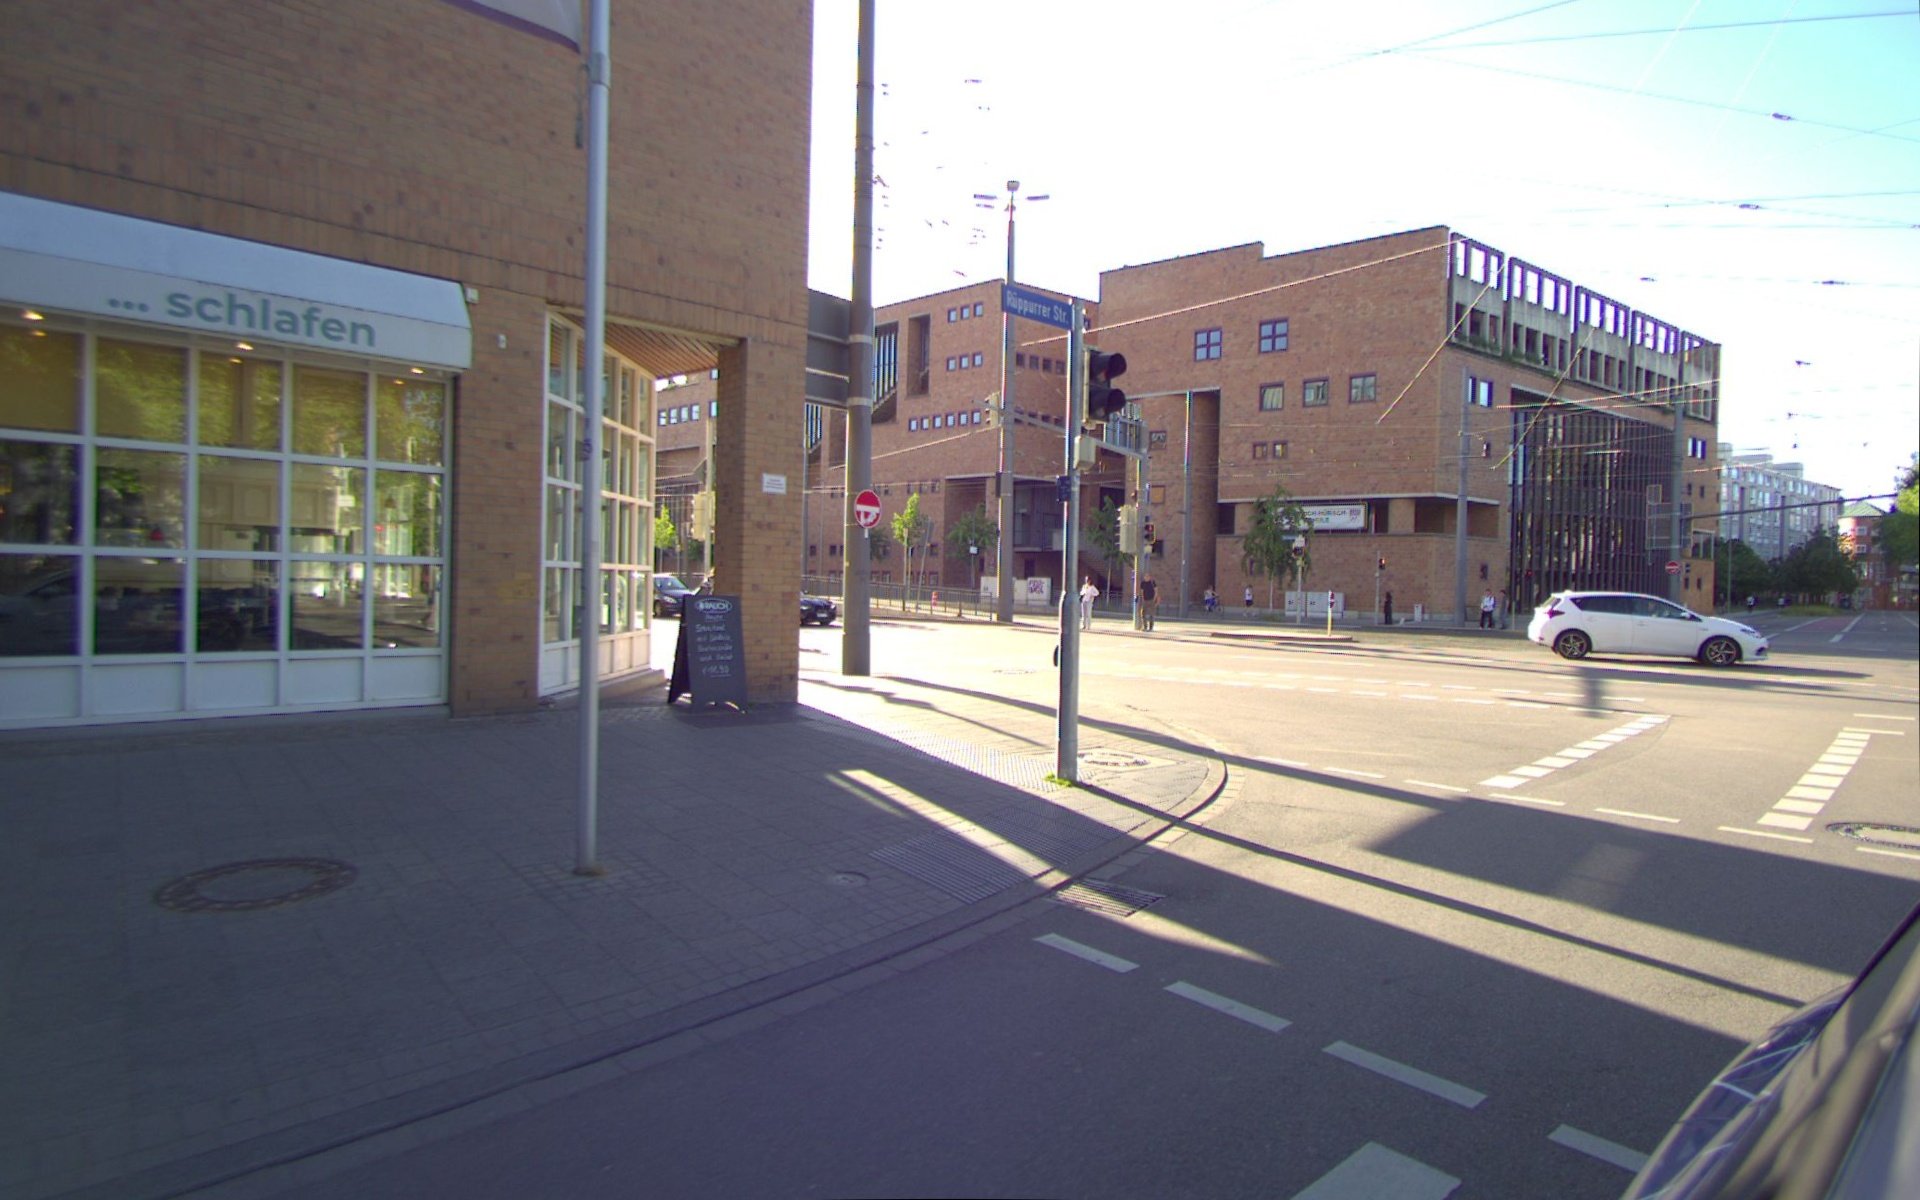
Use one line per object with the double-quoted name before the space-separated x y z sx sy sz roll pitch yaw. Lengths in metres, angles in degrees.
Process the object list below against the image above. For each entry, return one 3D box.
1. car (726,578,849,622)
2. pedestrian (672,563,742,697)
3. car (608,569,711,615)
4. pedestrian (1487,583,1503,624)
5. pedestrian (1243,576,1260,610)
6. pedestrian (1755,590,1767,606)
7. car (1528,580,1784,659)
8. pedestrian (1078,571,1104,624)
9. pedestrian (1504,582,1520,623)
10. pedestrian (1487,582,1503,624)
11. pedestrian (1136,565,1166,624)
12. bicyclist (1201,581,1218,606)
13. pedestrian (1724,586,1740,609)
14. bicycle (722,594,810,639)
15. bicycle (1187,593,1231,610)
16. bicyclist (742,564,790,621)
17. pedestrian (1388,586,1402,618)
"car" -5.799 -0.035 33.783 4.211 1.284 1.819 2 3 41
"pedestrian" -3.282 0.370 13.160 0.726 1.686 0.754 1 1 -3
"car" -11.581 -0.344 38.925 4.211 1.632 1.819 2 3 41
"pedestrian" 24.254 0.157 45.852 0.545 1.808 0.566 1 1 34
"pedestrian" 15.947 -0.398 55.351 0.572 1.807 0.540 5 3 45
"pedestrian" 73.440 -0.176 92.772 0.810 1.401 0.676 2 1 44
"car" 14.666 0.341 21.653 4.256 1.466 1.829 1 3 27
"pedestrian" 4.075 -0.088 31.458 0.641 1.596 0.576 1 1 29
"pedestrian" 24.686 0.107 45.244 0.545 1.808 0.566 1 1 34
"pedestrian" 23.589 0.139 44.641 0.545 1.808 0.566 1 1 34
"pedestrian" 5.792 -0.174 30.718 0.592 1.748 0.712 2 1 43
"bicyclist" 13.798 -0.338 55.969 0.650 1.356 0.638 2 1 43
"pedestrian" 57.995 -0.191 76.008 0.805 1.626 0.680 2 1 30
"bicycle" -4.922 0.384 25.556 2.498 1.003 0.800 2 2 41
"bicycle" 13.763 0.074 55.999 2.338 0.915 0.640 2 1 44
"bicyclist" -4.890 -0.201 25.532 0.922 1.394 0.800 2 2 41
"pedestrian" 20.633 0.102 48.003 0.567 1.495 0.545 2 1 24
